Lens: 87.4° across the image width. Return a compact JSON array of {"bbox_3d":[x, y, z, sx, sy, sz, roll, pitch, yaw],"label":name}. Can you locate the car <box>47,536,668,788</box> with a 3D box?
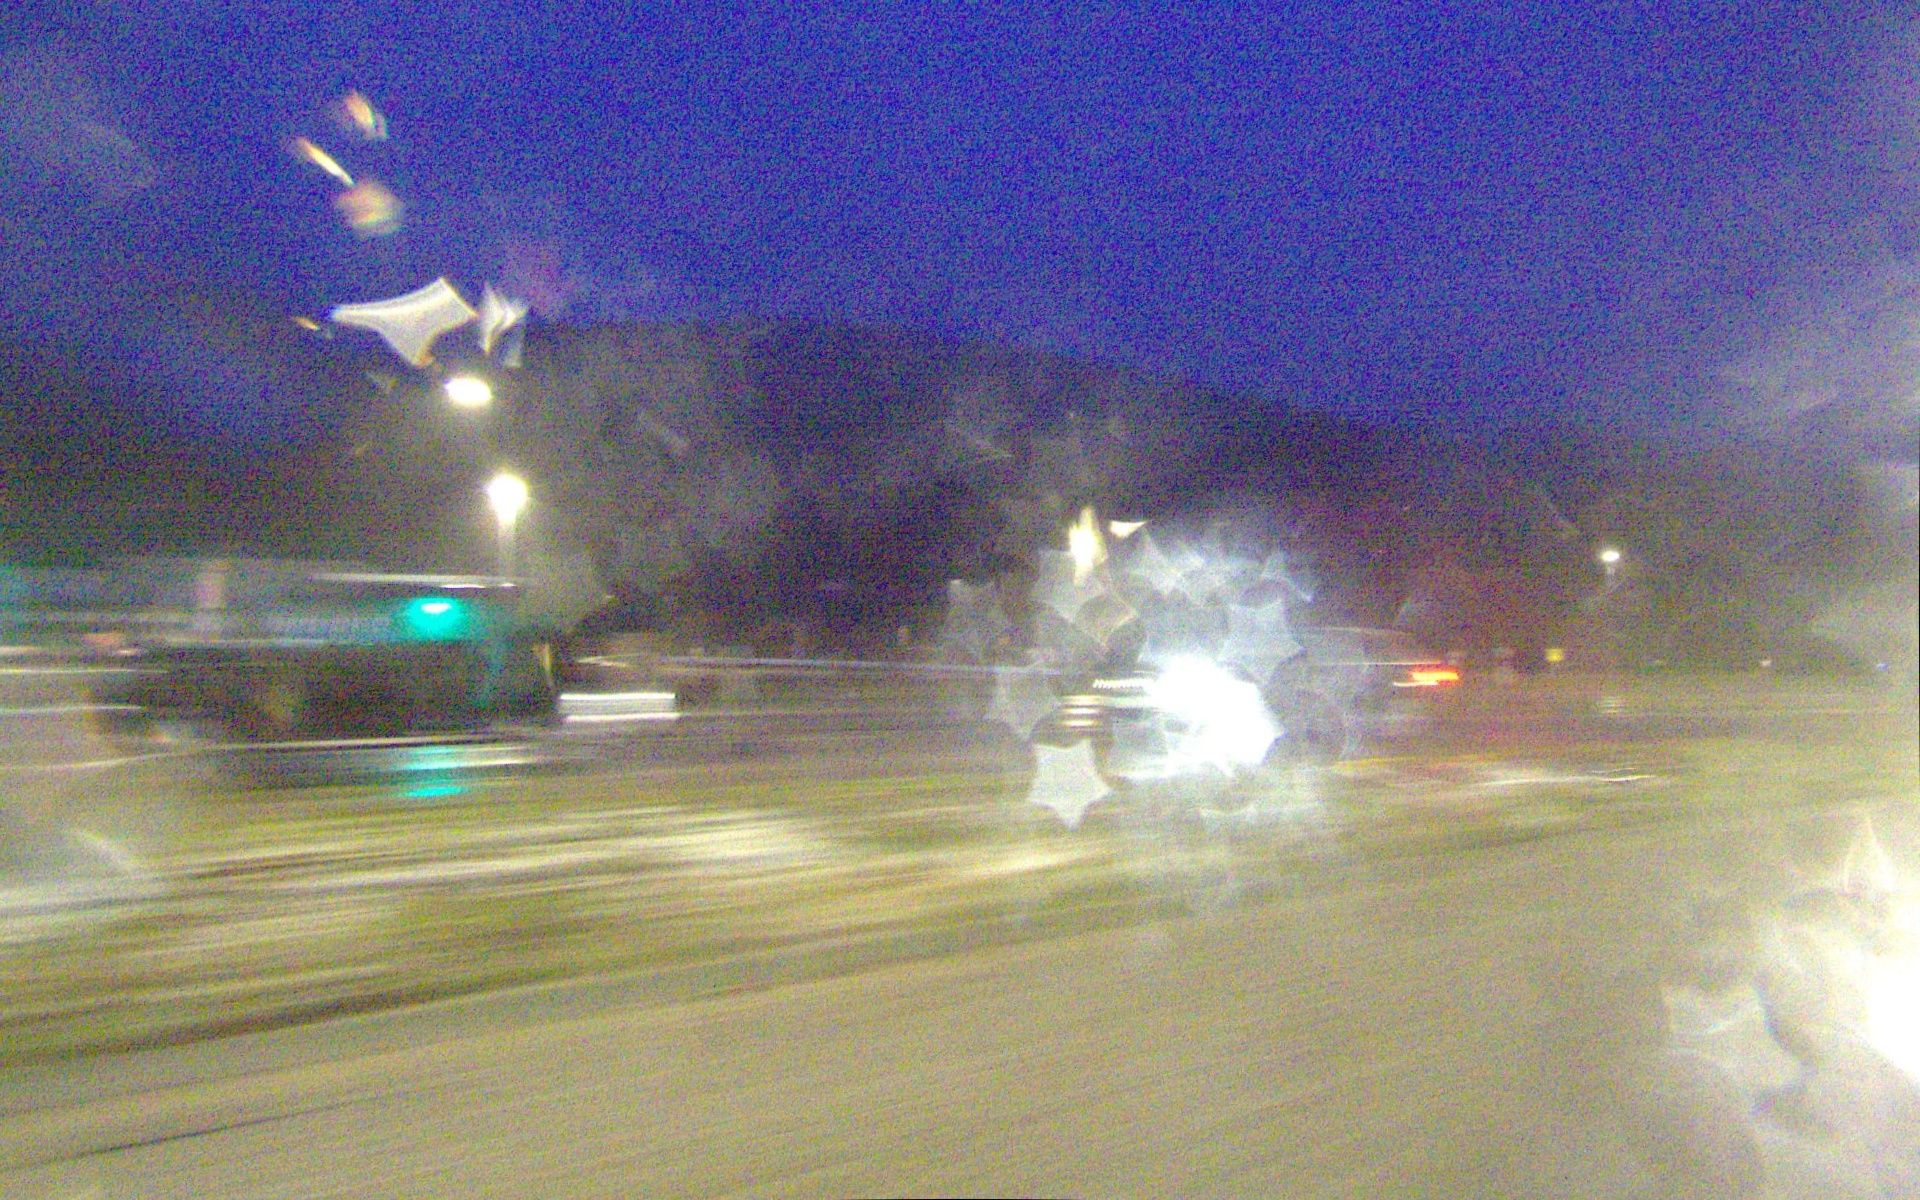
[{"bbox_3d":[-4.773,0.534,8.592,4.089,1.725,1.712,3,-2,-27],"label":"car"}]

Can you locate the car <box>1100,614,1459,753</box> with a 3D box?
[{"bbox_3d":[4.190,1.060,12.994,4.542,1.554,1.701,3,-2,-28],"label":"car"}]

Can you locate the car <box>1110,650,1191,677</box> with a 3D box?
[{"bbox_3d":[11.293,3.764,59.754,4.464,1.416,2.001,2,-2,2],"label":"car"}]

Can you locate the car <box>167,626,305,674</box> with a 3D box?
[{"bbox_3d":[-29.028,2.028,40.381,1.969,1.806,4.084,1,-3,39],"label":"car"}]
